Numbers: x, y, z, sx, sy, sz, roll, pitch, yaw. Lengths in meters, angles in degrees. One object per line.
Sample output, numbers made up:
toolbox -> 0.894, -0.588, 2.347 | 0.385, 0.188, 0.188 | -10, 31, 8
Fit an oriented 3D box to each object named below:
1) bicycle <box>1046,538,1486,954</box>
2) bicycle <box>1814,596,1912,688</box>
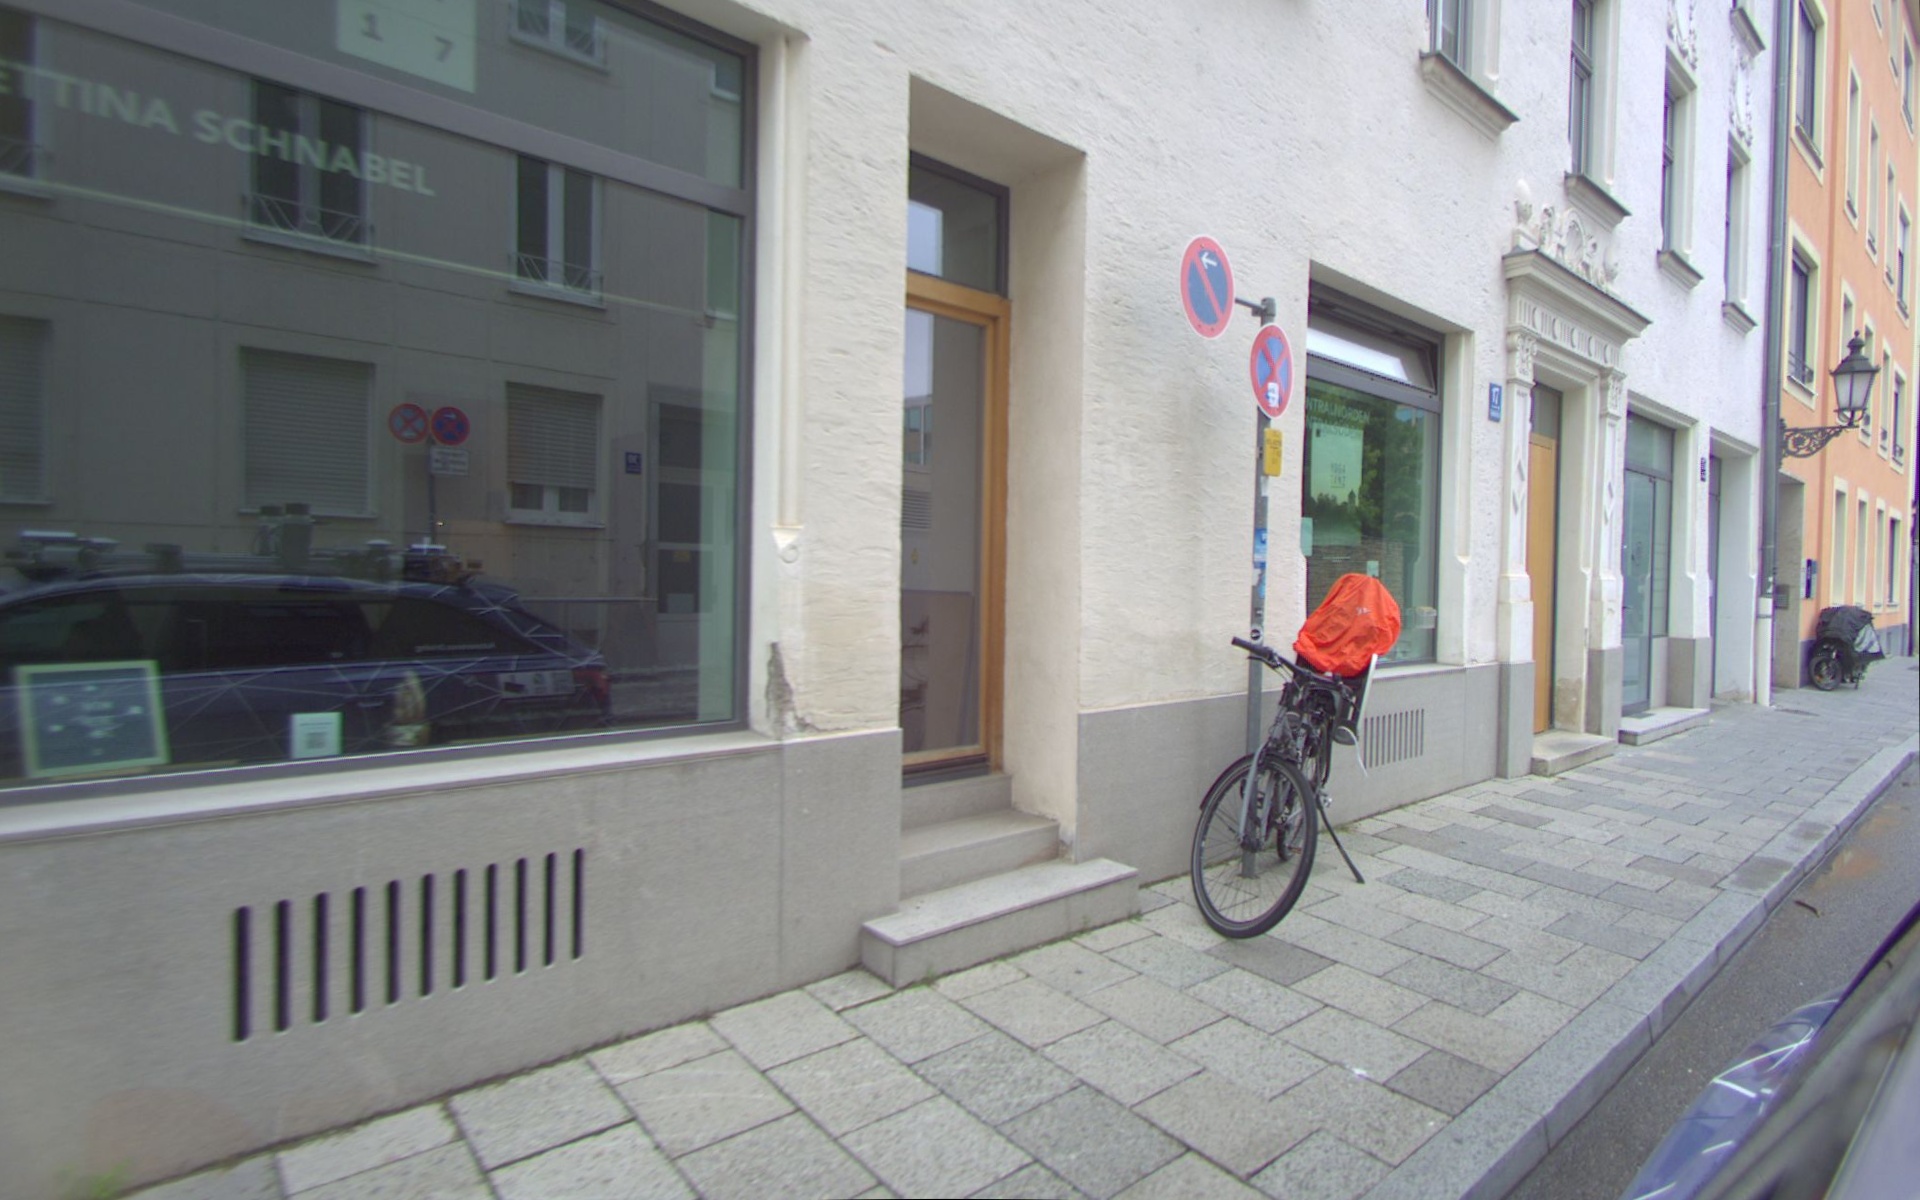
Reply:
bicycle -> 1.400, 0.487, 4.381 | 2.083, 1.413, 0.715 | 0, 3, -39
bicycle -> 13.822, 0.604, 15.469 | 2.339, 1.254, 0.681 | 1, 5, -40
